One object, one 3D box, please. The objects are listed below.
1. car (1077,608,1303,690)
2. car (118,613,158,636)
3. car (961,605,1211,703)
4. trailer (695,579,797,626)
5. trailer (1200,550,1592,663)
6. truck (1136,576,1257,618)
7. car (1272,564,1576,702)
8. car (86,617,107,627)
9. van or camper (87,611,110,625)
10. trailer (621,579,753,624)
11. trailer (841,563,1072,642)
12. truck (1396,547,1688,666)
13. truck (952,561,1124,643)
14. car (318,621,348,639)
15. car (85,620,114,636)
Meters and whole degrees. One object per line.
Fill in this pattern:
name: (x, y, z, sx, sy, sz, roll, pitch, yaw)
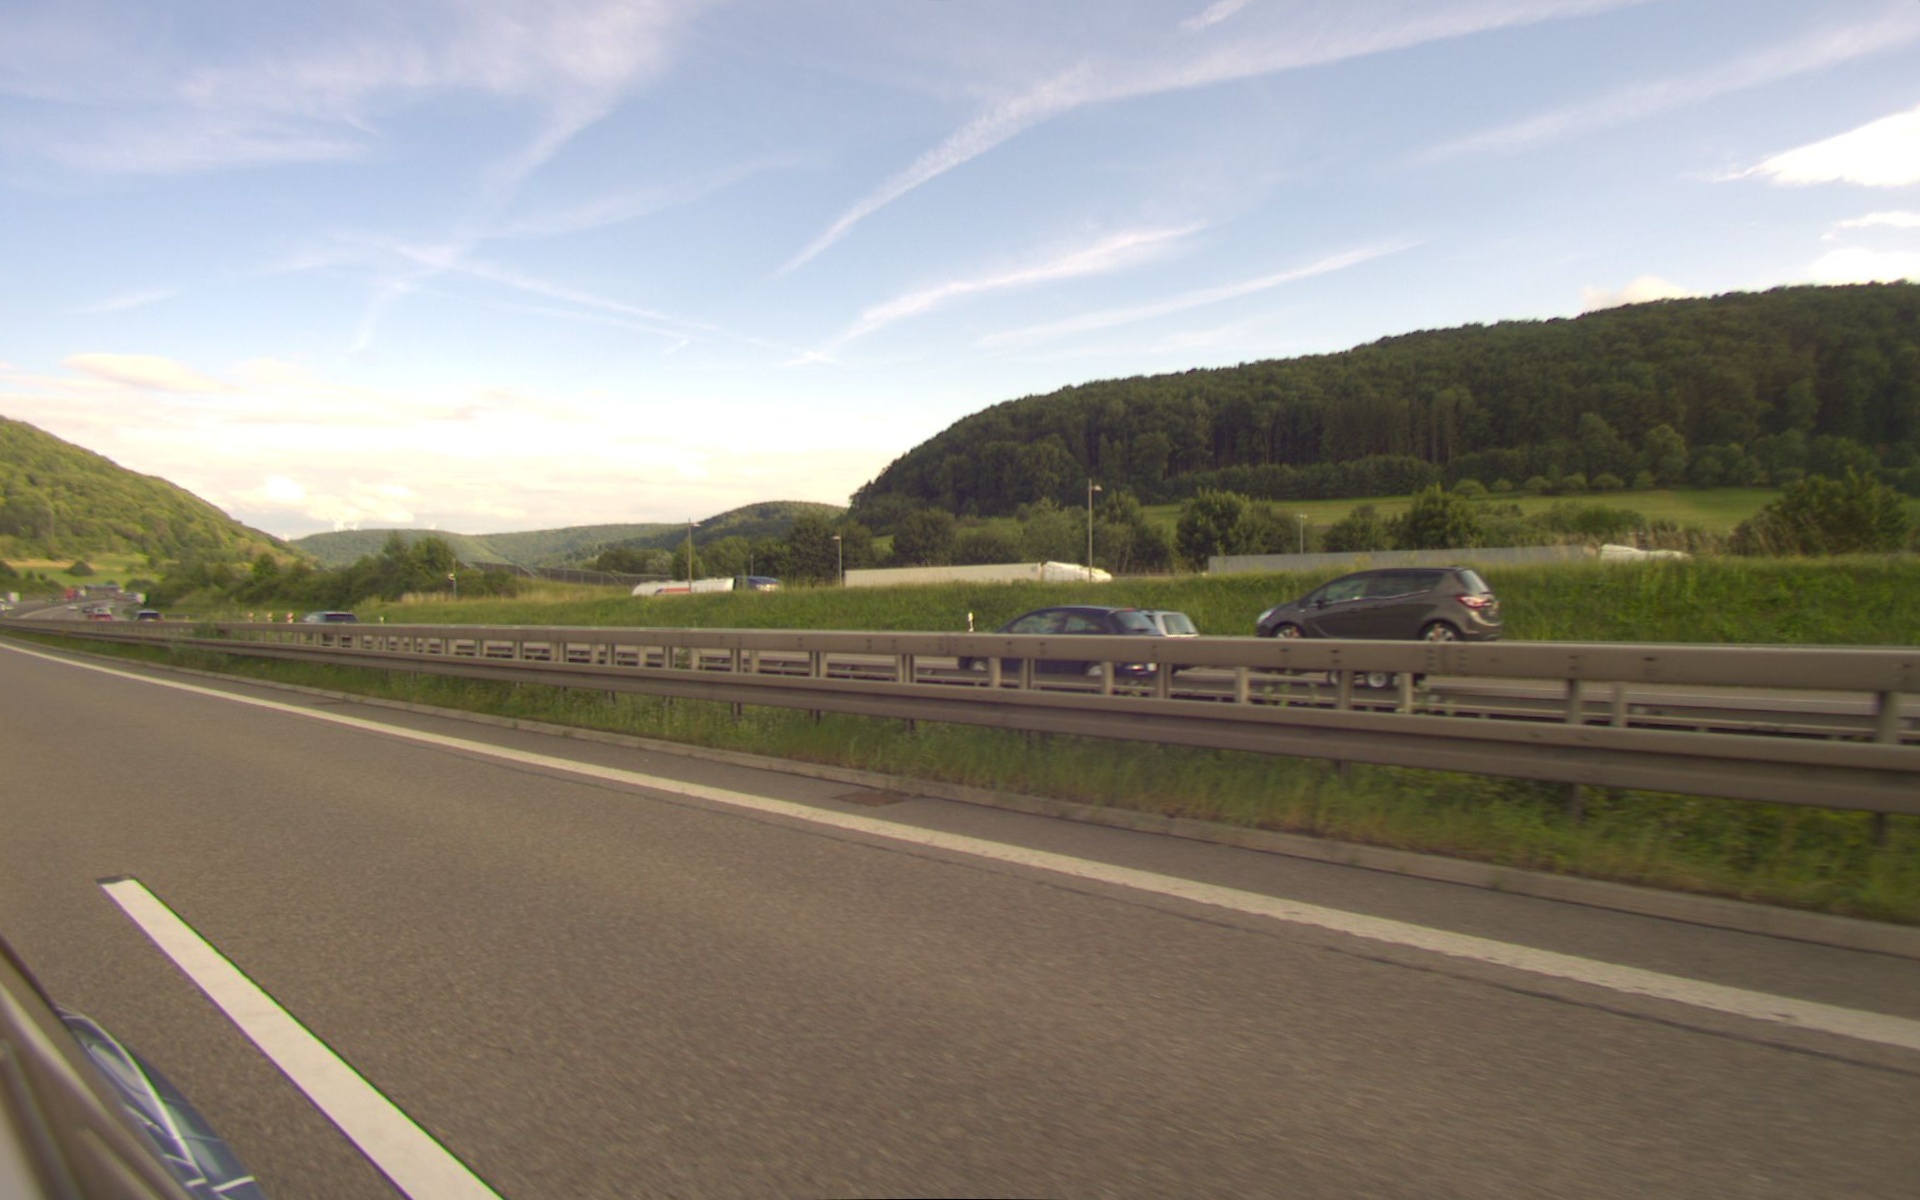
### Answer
car: (4.723, 0.963, 21.089, 4.207, 1.537, 1.931, -1, -2, 41)
car: (-62.868, 1.821, 77.375, 4.341, 1.626, 1.787, 1, 0, 43)
car: (2.104, 0.872, 17.397, 3.870, 1.487, 1.931, -1, -2, 41)
trailer: (-13.836, 0.128, 65.103, 7.303, 2.875, 2.584, 1, 0, 42)
trailer: (16.147, 0.269, 38.963, 13.669, 3.724, 2.847, 0, -2, 41)
truck: (23.132, -0.289, 99.048, 11.209, 3.885, 2.590, 0, 0, -4)
car: (8.059, 0.561, 17.838, 4.518, 2.129, 1.931, -1, -2, 41)
car: (-139.747, 3.559, 163.803, 4.690, 1.508, 1.973, -1, -2, 41)
van or camper: (-120.622, 2.482, 141.679, 4.756, 1.888, 1.894, -1, -2, 44)
trailer: (-19.067, 0.062, 69.837, 12.260, 2.875, 2.551, 1, 0, 42)
trailer: (-0.552, 0.225, 53.566, 13.666, 3.724, 2.848, -1, -1, 40)
truck: (20.142, 0.265, 35.446, 8.488, 3.719, 2.851, 0, -2, 41)
truck: (3.713, 0.169, 49.915, 8.488, 3.719, 2.851, -1, -2, 41)
car: (-56.977, 2.718, 92.020, 1.965, 1.563, 4.634, 1, -2, -27)
car: (-85.512, 2.780, 100.560, 1.820, 1.542, 4.217, 3, -3, -45)
